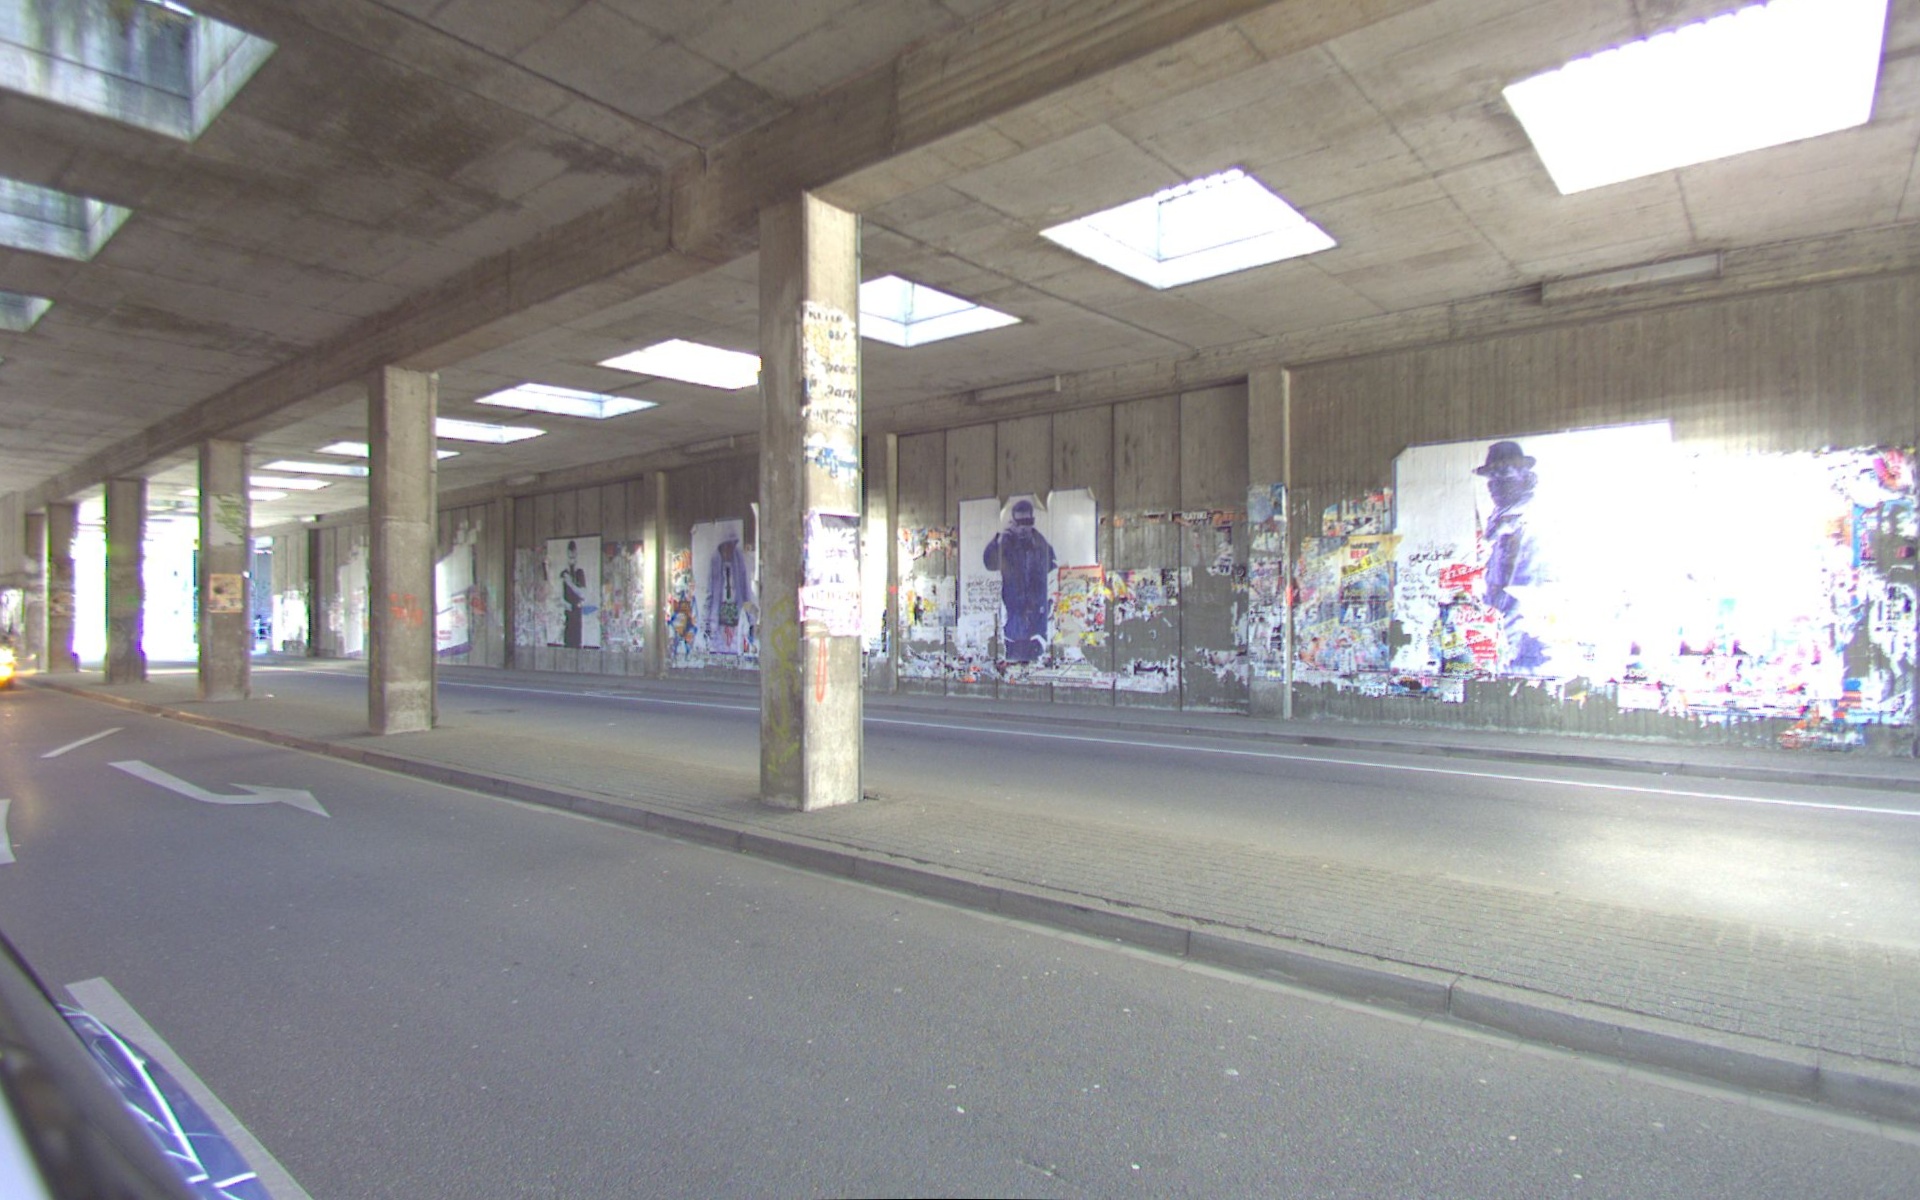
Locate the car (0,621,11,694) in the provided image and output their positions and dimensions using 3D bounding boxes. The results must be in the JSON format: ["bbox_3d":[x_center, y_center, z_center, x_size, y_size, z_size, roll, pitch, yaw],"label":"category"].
[{"bbox_3d":[-21.234,1.180,21.008,4.175,1.458,1.761,-1,-1,40],"label":"car"}]
